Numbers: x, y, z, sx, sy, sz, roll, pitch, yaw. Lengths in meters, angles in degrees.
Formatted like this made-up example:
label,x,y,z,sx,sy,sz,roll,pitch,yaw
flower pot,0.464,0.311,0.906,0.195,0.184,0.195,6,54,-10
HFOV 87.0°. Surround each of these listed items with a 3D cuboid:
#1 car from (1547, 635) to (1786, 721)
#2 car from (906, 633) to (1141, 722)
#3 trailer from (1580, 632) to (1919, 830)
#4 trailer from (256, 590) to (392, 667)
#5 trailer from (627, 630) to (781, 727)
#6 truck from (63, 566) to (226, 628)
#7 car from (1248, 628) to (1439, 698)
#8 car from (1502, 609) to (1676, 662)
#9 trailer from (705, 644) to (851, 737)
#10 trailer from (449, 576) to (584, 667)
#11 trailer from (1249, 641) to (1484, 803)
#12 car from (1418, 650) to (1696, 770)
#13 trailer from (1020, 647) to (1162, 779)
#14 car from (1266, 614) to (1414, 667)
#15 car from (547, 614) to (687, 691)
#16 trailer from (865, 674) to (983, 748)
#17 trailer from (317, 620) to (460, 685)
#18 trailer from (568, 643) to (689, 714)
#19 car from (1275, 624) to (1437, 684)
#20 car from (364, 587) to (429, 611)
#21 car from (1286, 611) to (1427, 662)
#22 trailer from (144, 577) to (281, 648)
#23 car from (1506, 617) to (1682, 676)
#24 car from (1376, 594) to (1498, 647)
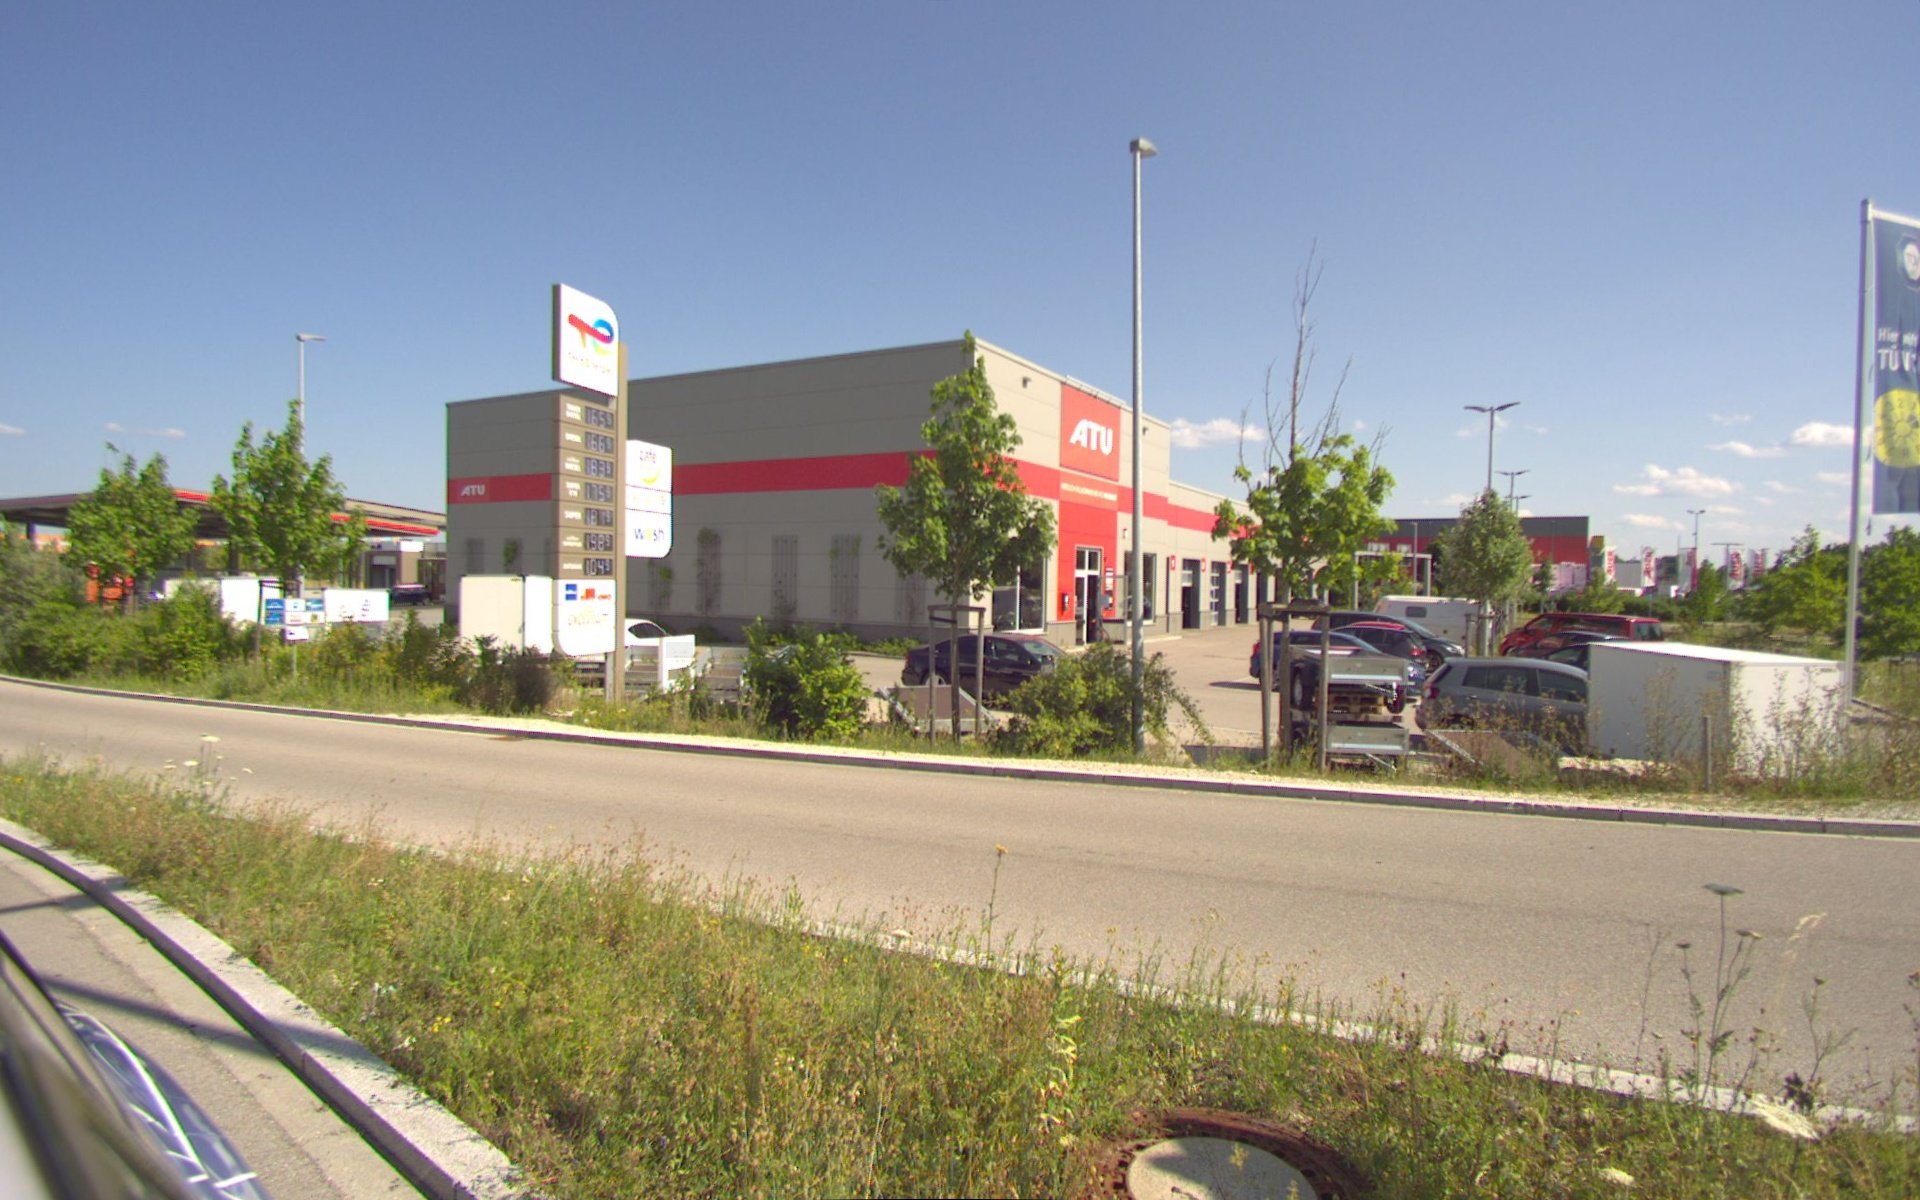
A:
label,x,y,z,sx,sy,sz,roll,pitch,yaw
car,15.788,1.683,22.852,1.794,1.475,4.014,2,1,-25
car,1.220,1.473,20.488,4.486,1.495,1.783,0,0,34
trailer,9.702,1.434,12.461,1.782,1.785,3.698,-1,2,-1
trailer,-17.794,0.747,28.437,1.975,2.029,2.732,0,1,6
trailer,-4.656,1.382,18.834,1.533,1.495,3.179,0,1,12
truck,-46.578,-0.215,58.049,2.624,3.343,6.854,0,1,22
car,8.966,1.420,23.703,3.983,1.475,1.807,0,-2,29
car,19.928,1.074,32.299,1.794,1.475,4.470,-1,1,-25
trailer,-3.137,1.531,17.939,1.378,1.332,2.895,0,1,17
trailer,-10.575,0.468,24.372,1.724,2.029,3.238,0,1,2
trailer,5.556,1.586,14.370,1.782,1.785,3.697,0,1,-1
car,9.609,1.697,16.518,3.731,1.563,1.725,0,1,32
trailer,1.945,1.671,16.001,1.684,1.462,3.698,0,3,-1
car,11.699,1.200,31.268,3.990,1.475,1.804,0,1,34
car,-7.901,1.151,23.681,1.697,1.548,3.995,0,1,4
trailer,-0.544,1.828,17.140,1.841,0.888,2.837,0,1,1
trailer,-15.343,1.371,27.399,1.580,1.521,3.594,-1,1,6
trailer,-6.260,1.456,19.361,1.303,1.094,2.773,0,1,3
car,11.161,1.467,28.625,3.990,1.475,1.804,0,1,34
car,-39.713,-0.097,71.357,1.694,1.586,3.637,0,1,39
car,12.845,1.146,32.864,3.990,1.475,1.804,0,1,34
trailer,-22.546,0.329,30.671,1.969,2.029,3.211,-1,1,-6
car,18.362,1.292,29.515,1.794,1.475,4.013,-1,1,-25
car,19.254,0.776,40.846,4.332,2.029,1.884,0,1,30
